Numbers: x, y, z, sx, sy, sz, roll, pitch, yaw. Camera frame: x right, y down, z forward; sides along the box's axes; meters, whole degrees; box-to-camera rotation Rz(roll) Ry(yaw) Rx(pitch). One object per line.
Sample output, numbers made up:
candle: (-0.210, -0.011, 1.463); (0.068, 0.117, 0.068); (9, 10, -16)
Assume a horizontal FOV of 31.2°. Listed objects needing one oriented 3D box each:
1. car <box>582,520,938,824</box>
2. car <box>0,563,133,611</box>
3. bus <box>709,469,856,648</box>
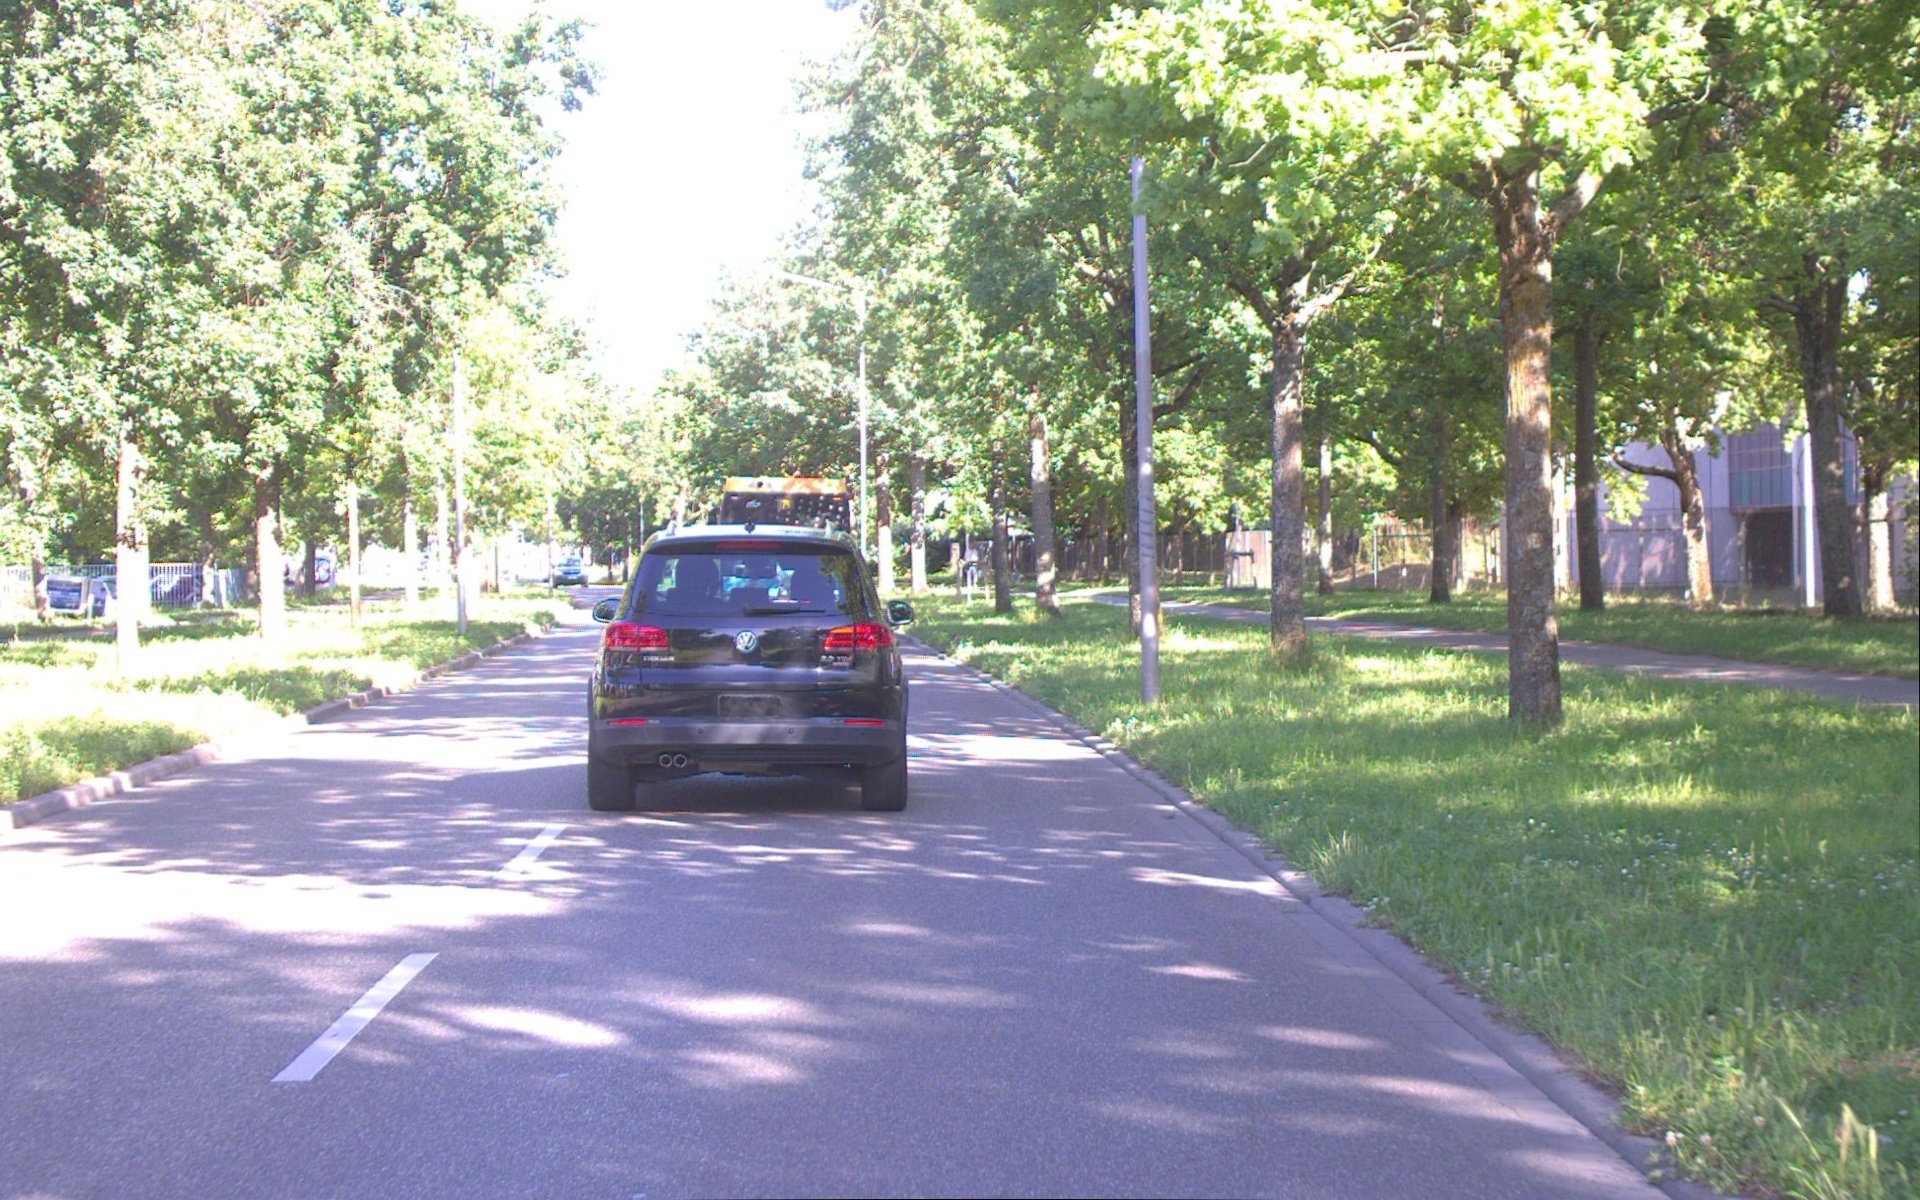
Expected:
car: (-1.186, 0.350, 21.053); (1.936, 1.650, 4.427); (0, 1, -2)
car: (-26.386, -0.376, 99.805); (4.198, 1.317, 1.941); (-1, 1, 3)
bus: (-3.642, -0.908, 72.877); (2.764, 3.445, 11.212); (-1, 1, -2)
